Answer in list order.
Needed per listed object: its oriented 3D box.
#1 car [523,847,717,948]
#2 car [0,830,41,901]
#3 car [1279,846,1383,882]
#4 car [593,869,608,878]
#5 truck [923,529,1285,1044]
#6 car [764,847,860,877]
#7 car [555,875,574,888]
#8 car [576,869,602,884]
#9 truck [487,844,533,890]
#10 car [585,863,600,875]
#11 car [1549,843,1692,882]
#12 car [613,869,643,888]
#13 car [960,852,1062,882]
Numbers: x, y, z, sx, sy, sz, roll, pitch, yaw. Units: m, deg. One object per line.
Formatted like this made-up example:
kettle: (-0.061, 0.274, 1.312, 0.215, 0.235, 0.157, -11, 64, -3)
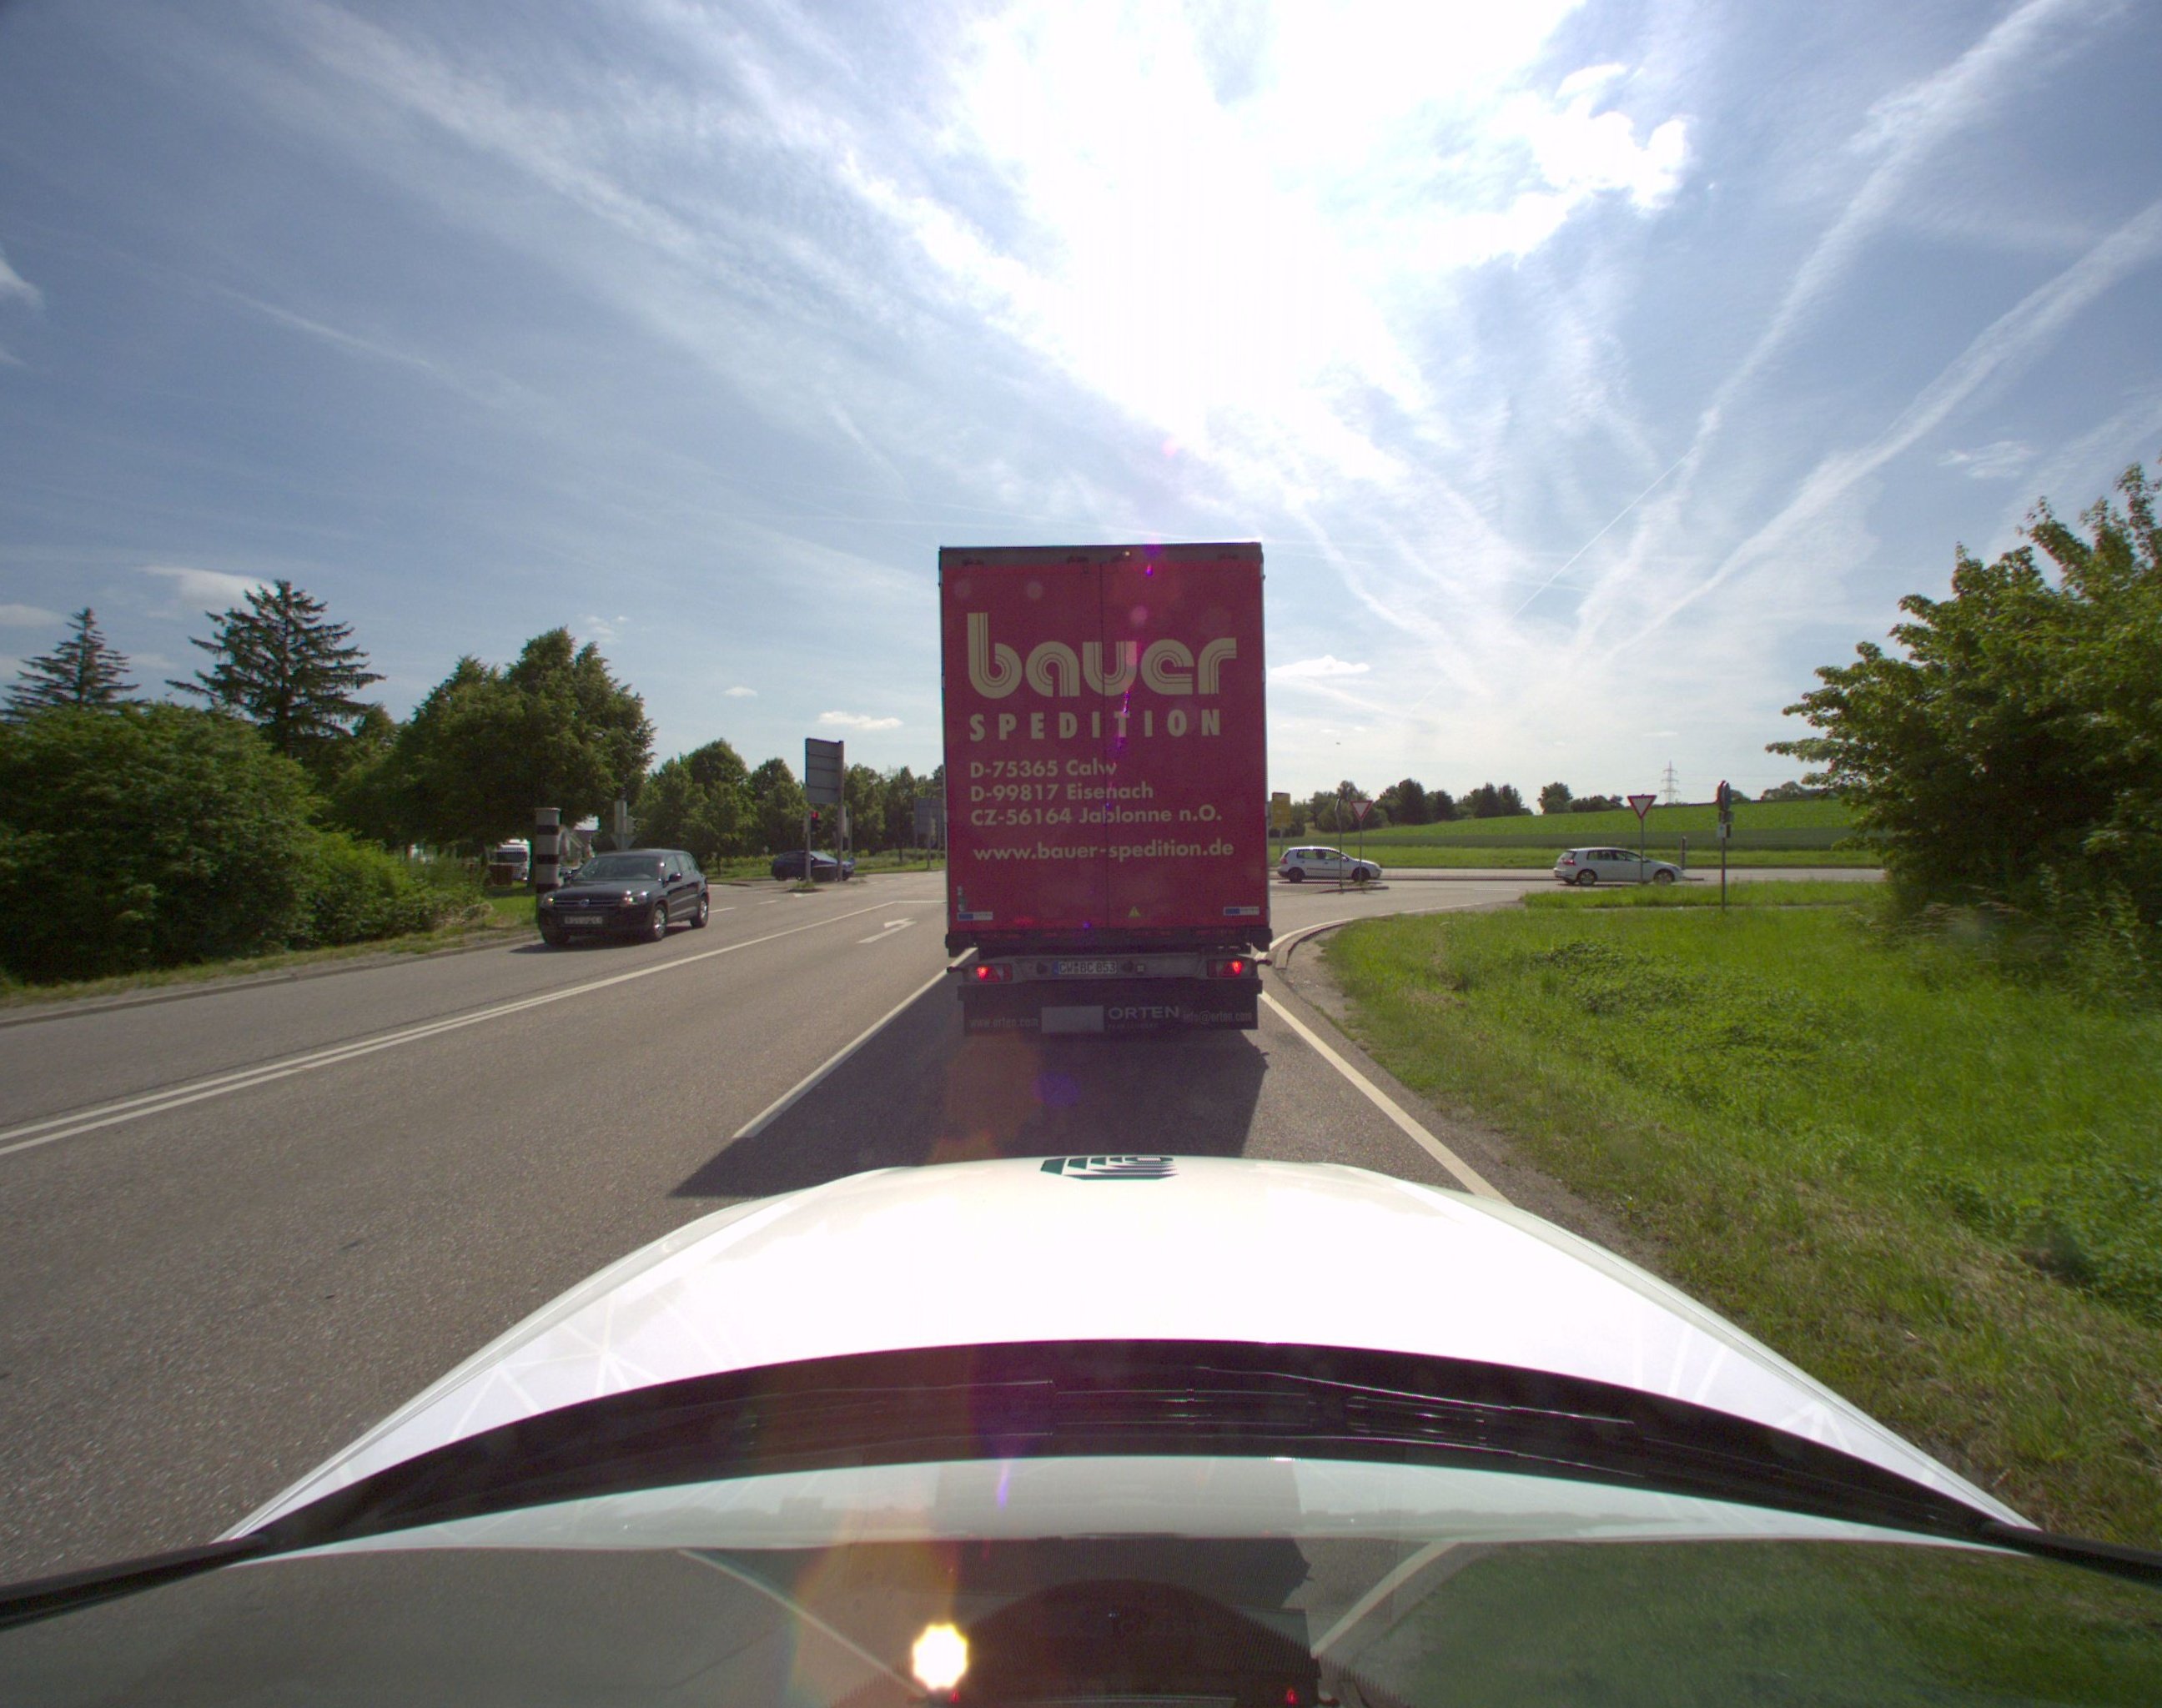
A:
car: (-8.368, 0.690, 15.260, 1.804, 1.597, 4.254, -1, 0, -10)
car: (-35.389, 0.335, 24.517, 4.601, 2.180, 1.985, 0, 0, -22)
car: (10.308, 0.390, 33.828, 4.006, 1.416, 1.802, 0, 1, 14)
car: (-85.503, 3.446, 144.856, 2.004, 1.429, 3.965, 0, -1, -27)
truck: (0.405, -0.570, 14.569, 2.724, 3.925, 16.631, -1, 0, 2)
car: (-13.250, 0.415, 40.165, 4.233, 1.429, 1.749, 0, -1, 17)
car: (-57.230, 3.039, 90.217, 1.682, 1.357, 3.821, 0, -2, -32)
car: (-47.754, 2.176, 79.009, 1.750, 1.305, 4.233, -1, 0, -37)
truck: (-49.583, 1.143, 70.879, 2.958, 3.798, 7.844, 0, -1, -33)
car: (-73.599, 2.281, 122.833, 1.764, 1.750, 3.963, 0, -1, -29)
car: (20.587, 0.316, 31.229, 4.217, 1.461, 1.816, 0, 1, 12)
car: (-37.027, 1.945, 66.590, 1.545, 1.491, 3.962, 0, -1, -38)
car: (-3.167, 0.589, 37.022, 4.235, 1.305, 1.749, 0, -1, 15)
